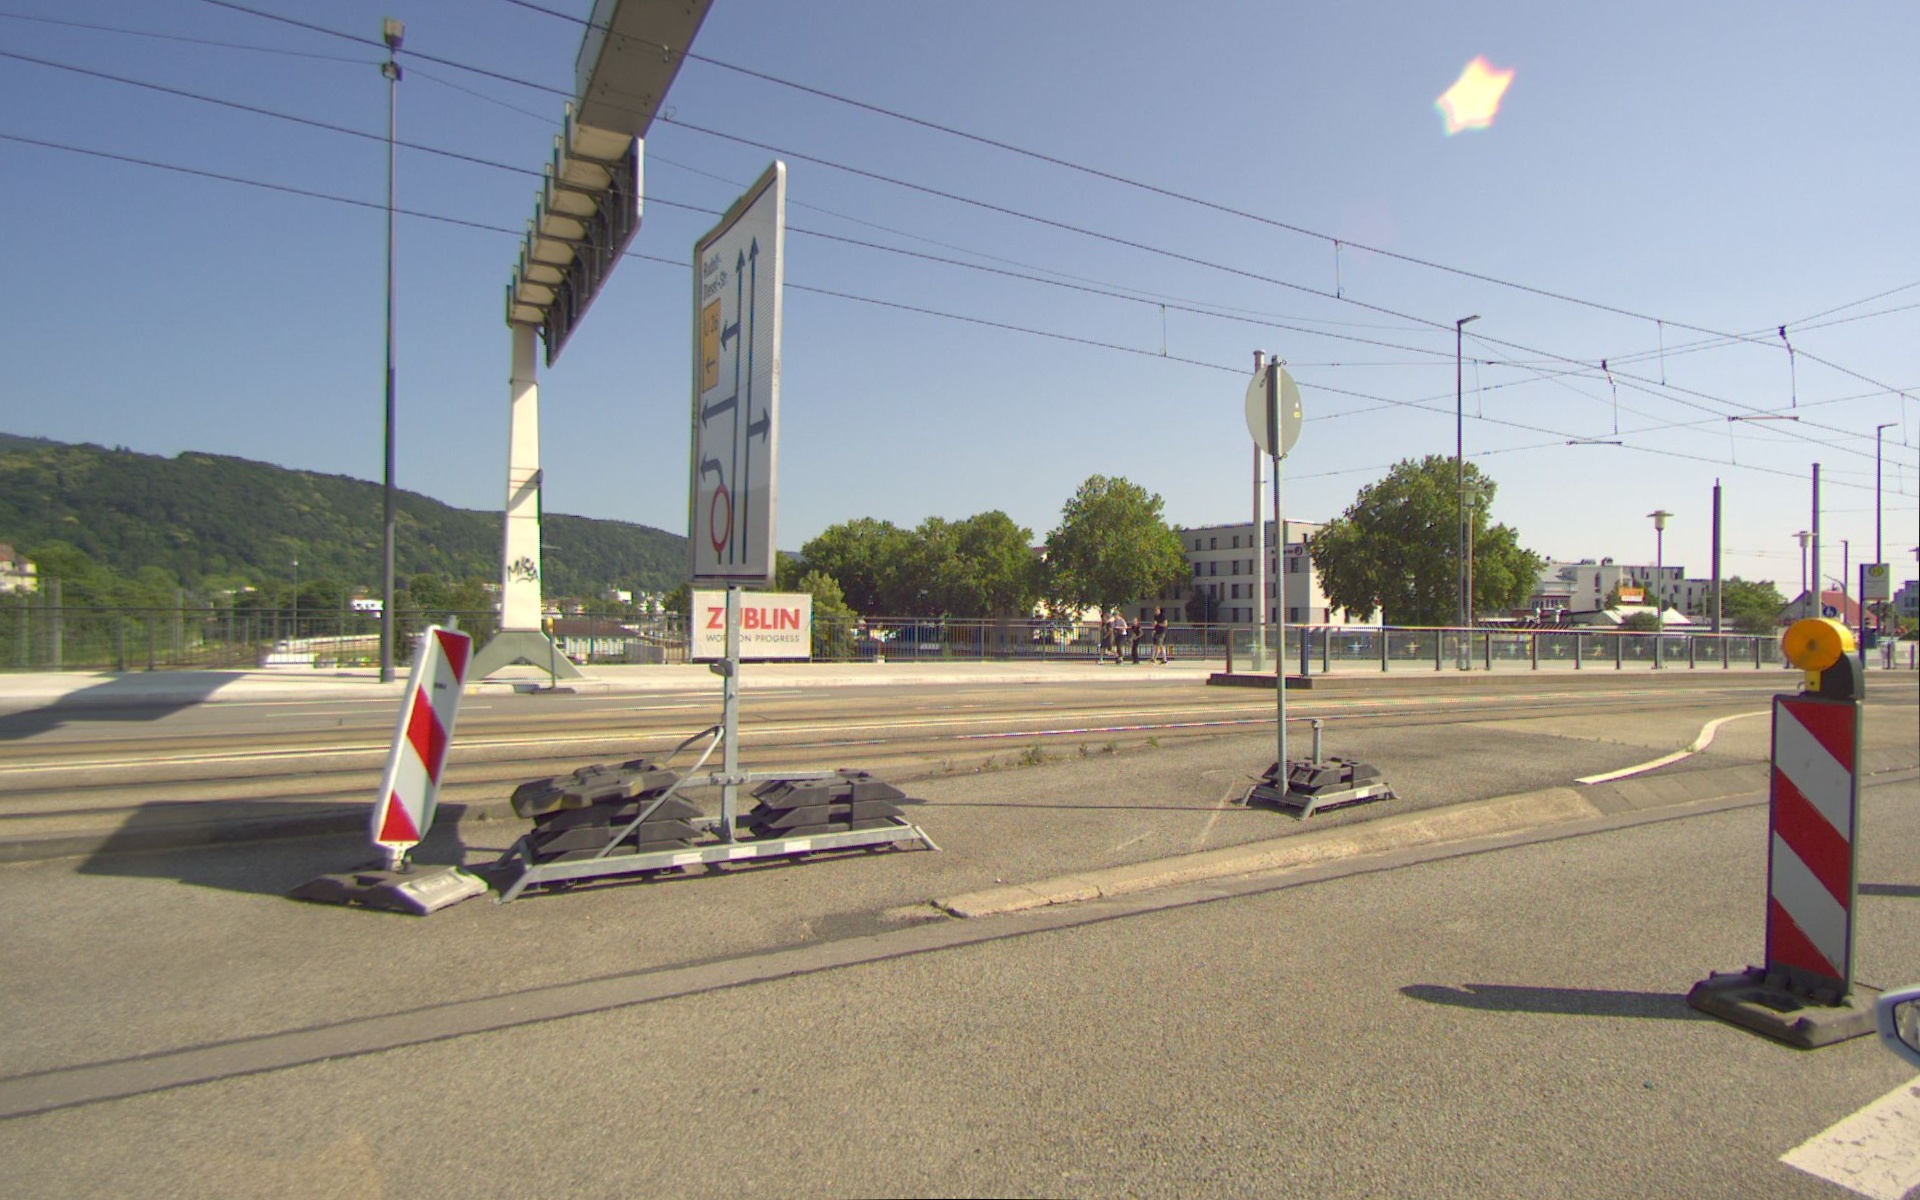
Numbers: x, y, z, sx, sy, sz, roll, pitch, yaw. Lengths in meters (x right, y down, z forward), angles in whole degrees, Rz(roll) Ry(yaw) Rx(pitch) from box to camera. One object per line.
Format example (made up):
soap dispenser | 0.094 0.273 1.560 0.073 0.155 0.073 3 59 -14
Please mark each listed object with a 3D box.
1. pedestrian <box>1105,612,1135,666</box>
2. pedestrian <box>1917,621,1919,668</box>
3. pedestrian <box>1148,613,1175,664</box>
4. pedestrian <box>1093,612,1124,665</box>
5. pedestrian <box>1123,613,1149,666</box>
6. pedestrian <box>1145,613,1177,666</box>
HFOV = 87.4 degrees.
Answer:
pedestrian | 5.101 1.226 32.001 0.798 1.709 0.484 1 -1 -28
pedestrian | 34.500 1.584 35.542 0.727 1.676 0.660 1 -1 -17
pedestrian | 6.842 1.286 34.149 0.763 1.709 0.502 1 -1 -28
pedestrian | 4.813 1.236 32.553 0.807 1.709 0.595 1 -1 -28
pedestrian | 5.758 1.270 32.826 0.760 1.709 0.382 1 -1 -28
pedestrian | 6.499 1.268 32.509 0.722 1.709 0.750 1 -1 -28
